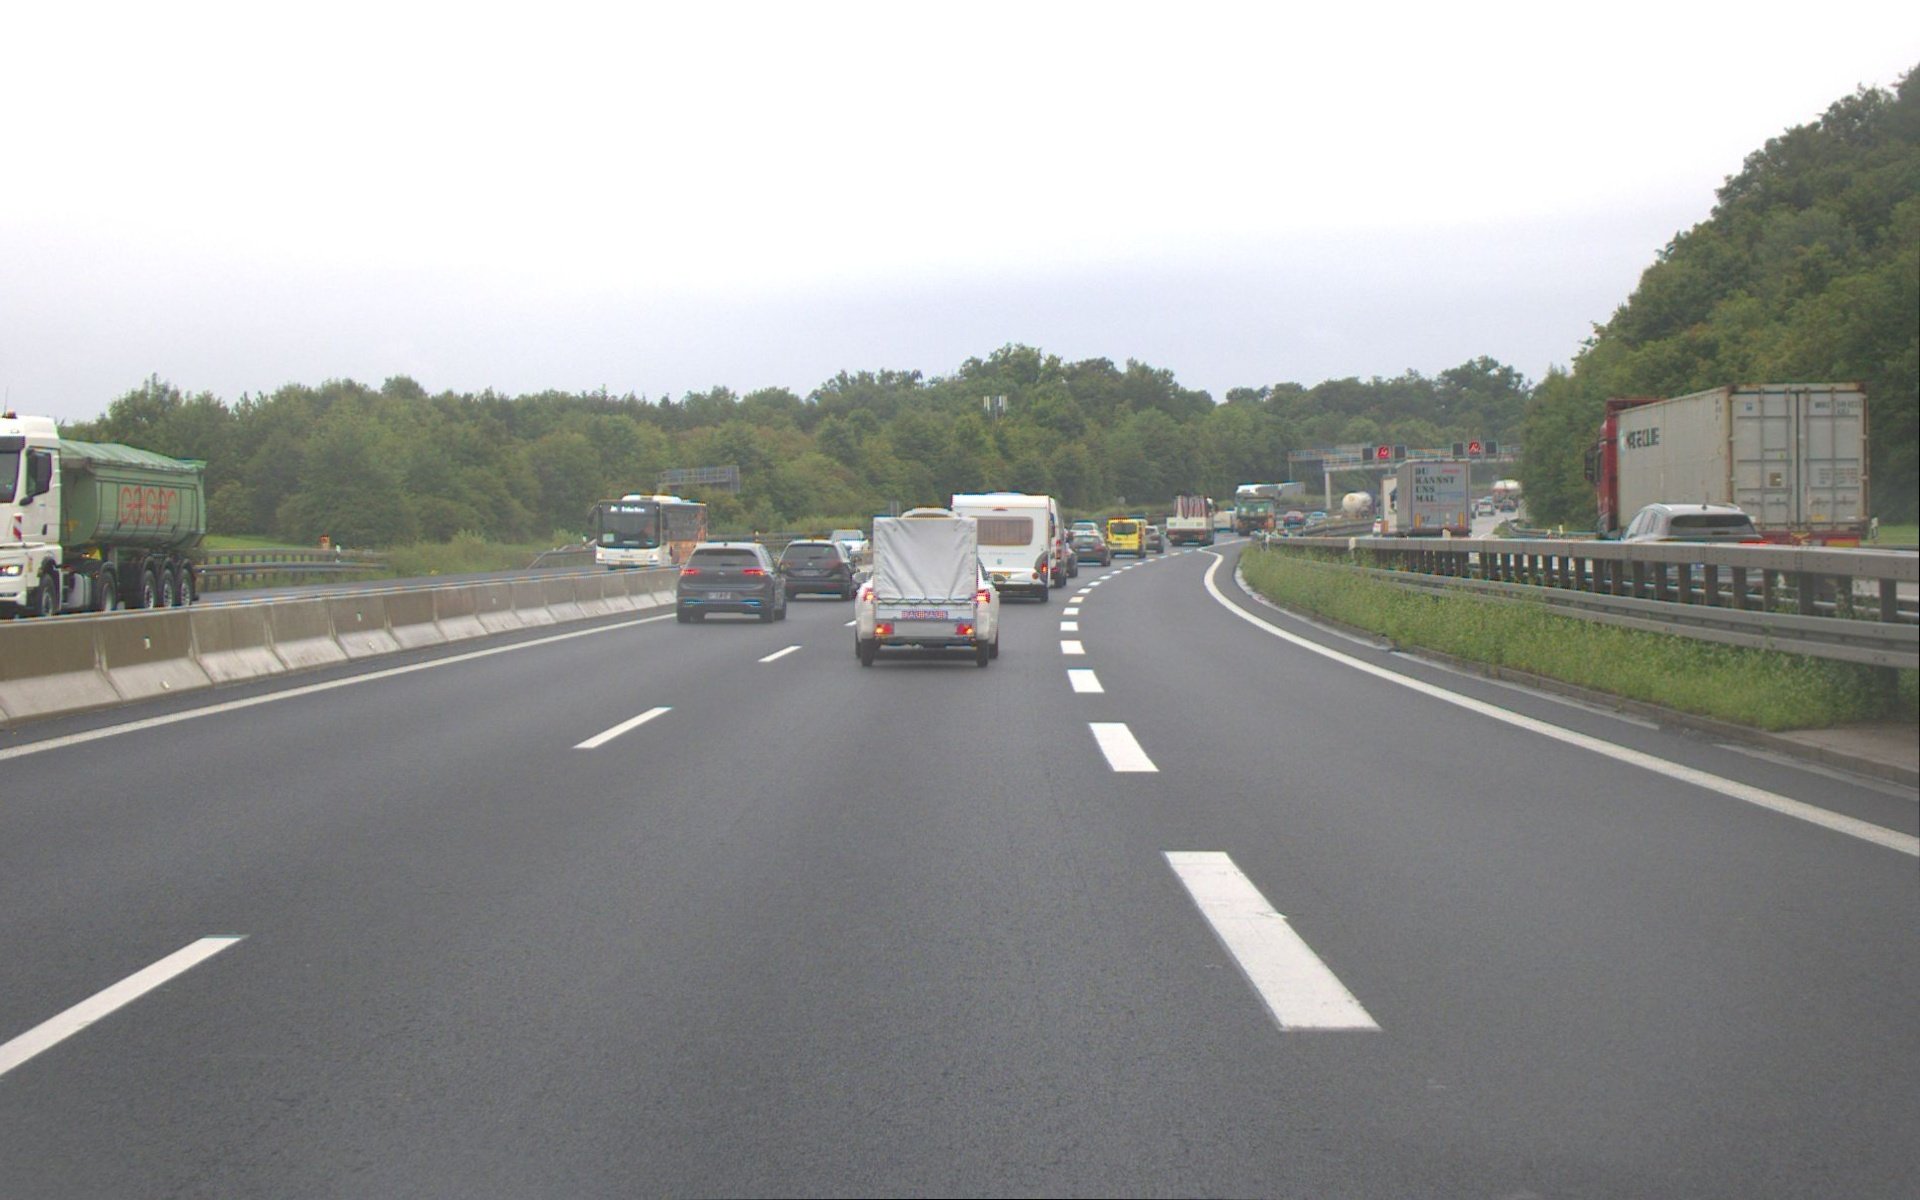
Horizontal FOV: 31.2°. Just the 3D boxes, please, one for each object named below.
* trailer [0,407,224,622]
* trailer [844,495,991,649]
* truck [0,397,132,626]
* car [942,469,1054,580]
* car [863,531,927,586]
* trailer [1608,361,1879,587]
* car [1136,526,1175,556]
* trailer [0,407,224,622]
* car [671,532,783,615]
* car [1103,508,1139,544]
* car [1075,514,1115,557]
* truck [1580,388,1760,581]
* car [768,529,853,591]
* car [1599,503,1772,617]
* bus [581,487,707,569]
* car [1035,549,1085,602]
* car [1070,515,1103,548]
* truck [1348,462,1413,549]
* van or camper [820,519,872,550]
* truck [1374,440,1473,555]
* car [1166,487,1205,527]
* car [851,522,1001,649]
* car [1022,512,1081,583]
[{"bbox_3d":[-16.352,-1.550,64.468,2.903,3.736,8.927,0,1,2],"label":"trailer"},{"bbox_3d":[-0.487,-0.355,42.421,1.676,1.806,4.000,0,1,1],"label":"trailer"},{"bbox_3d":[-16.521,-1.480,59.247,2.887,3.736,5.945,0,1,2],"label":"truck"},{"bbox_3d":[0.971,-1.789,82.768,2.508,2.576,5.699,0,1,2],"label":"car"},{"bbox_3d":[-1.959,-1.263,104.833,1.776,1.634,4.043,0,1,2],"label":"car"},{"bbox_3d":[14.716,-2.253,65.637,2.604,3.881,12.490,0,1,1],"label":"trailer"},{"bbox_3d":[11.126,-3.364,195.741,2.038,1.677,3.999,0,1,6],"label":"car"},{"bbox_3d":[-16.352,-1.550,64.468,2.903,3.736,8.927,0,1,2],"label":"trailer"},{"bbox_3d":[-4.250,-0.498,63.173,1.676,1.451,4.000,0,1,2],"label":"car"},{"bbox_3d":[8.258,-3.759,176.151,1.676,1.806,3.999,0,1,5],"label":"car"},{"bbox_3d":[5.840,-2.776,148.807,1.676,1.806,4.000,0,1,1],"label":"car"},{"bbox_3d":[14.905,-2.364,72.563,2.616,3.871,6.392,0,1,1],"label":"truck"},{"bbox_3d":[-3.582,-0.961,82.916,1.765,1.451,4.000,0,1,2],"label":"car"},{"bbox_3d":[10.755,-0.599,51.259,1.770,1.604,4.643,0,1,2],"label":"car"},{"bbox_3d":[-12.513,-2.850,137.250,2.699,2.948,11.896,-4,1,5],"label":"bus"},{"bbox_3d":[3.460,-0.869,119.535,1.676,1.806,4.000,0,1,1],"label":"car"},{"bbox_3d":[7.856,-4.230,213.443,1.993,2.007,4.000,0,1,2],"label":"car"},{"bbox_3d":[23.392,-5.142,190.588,3.216,4.650,13.028,0,1,8],"label":"truck"},{"bbox_3d":[-5.529,-3.177,167.404,1.748,1.442,4.584,-2,1,8],"label":"van or camper"},{"bbox_3d":[19.638,-4.250,146.398,3.216,4.650,13.031,0,1,4],"label":"truck"},{"bbox_3d":[14.961,-6.167,228.412,2.516,2.566,5.311,0,1,4],"label":"car"},{"bbox_3d":[-0.407,-0.215,46.035,1.818,1.610,4.778,0,1,2],"label":"car"},{"bbox_3d":[2.723,-1.547,101.956,1.676,2.060,4.000,0,1,2],"label":"car"}]
